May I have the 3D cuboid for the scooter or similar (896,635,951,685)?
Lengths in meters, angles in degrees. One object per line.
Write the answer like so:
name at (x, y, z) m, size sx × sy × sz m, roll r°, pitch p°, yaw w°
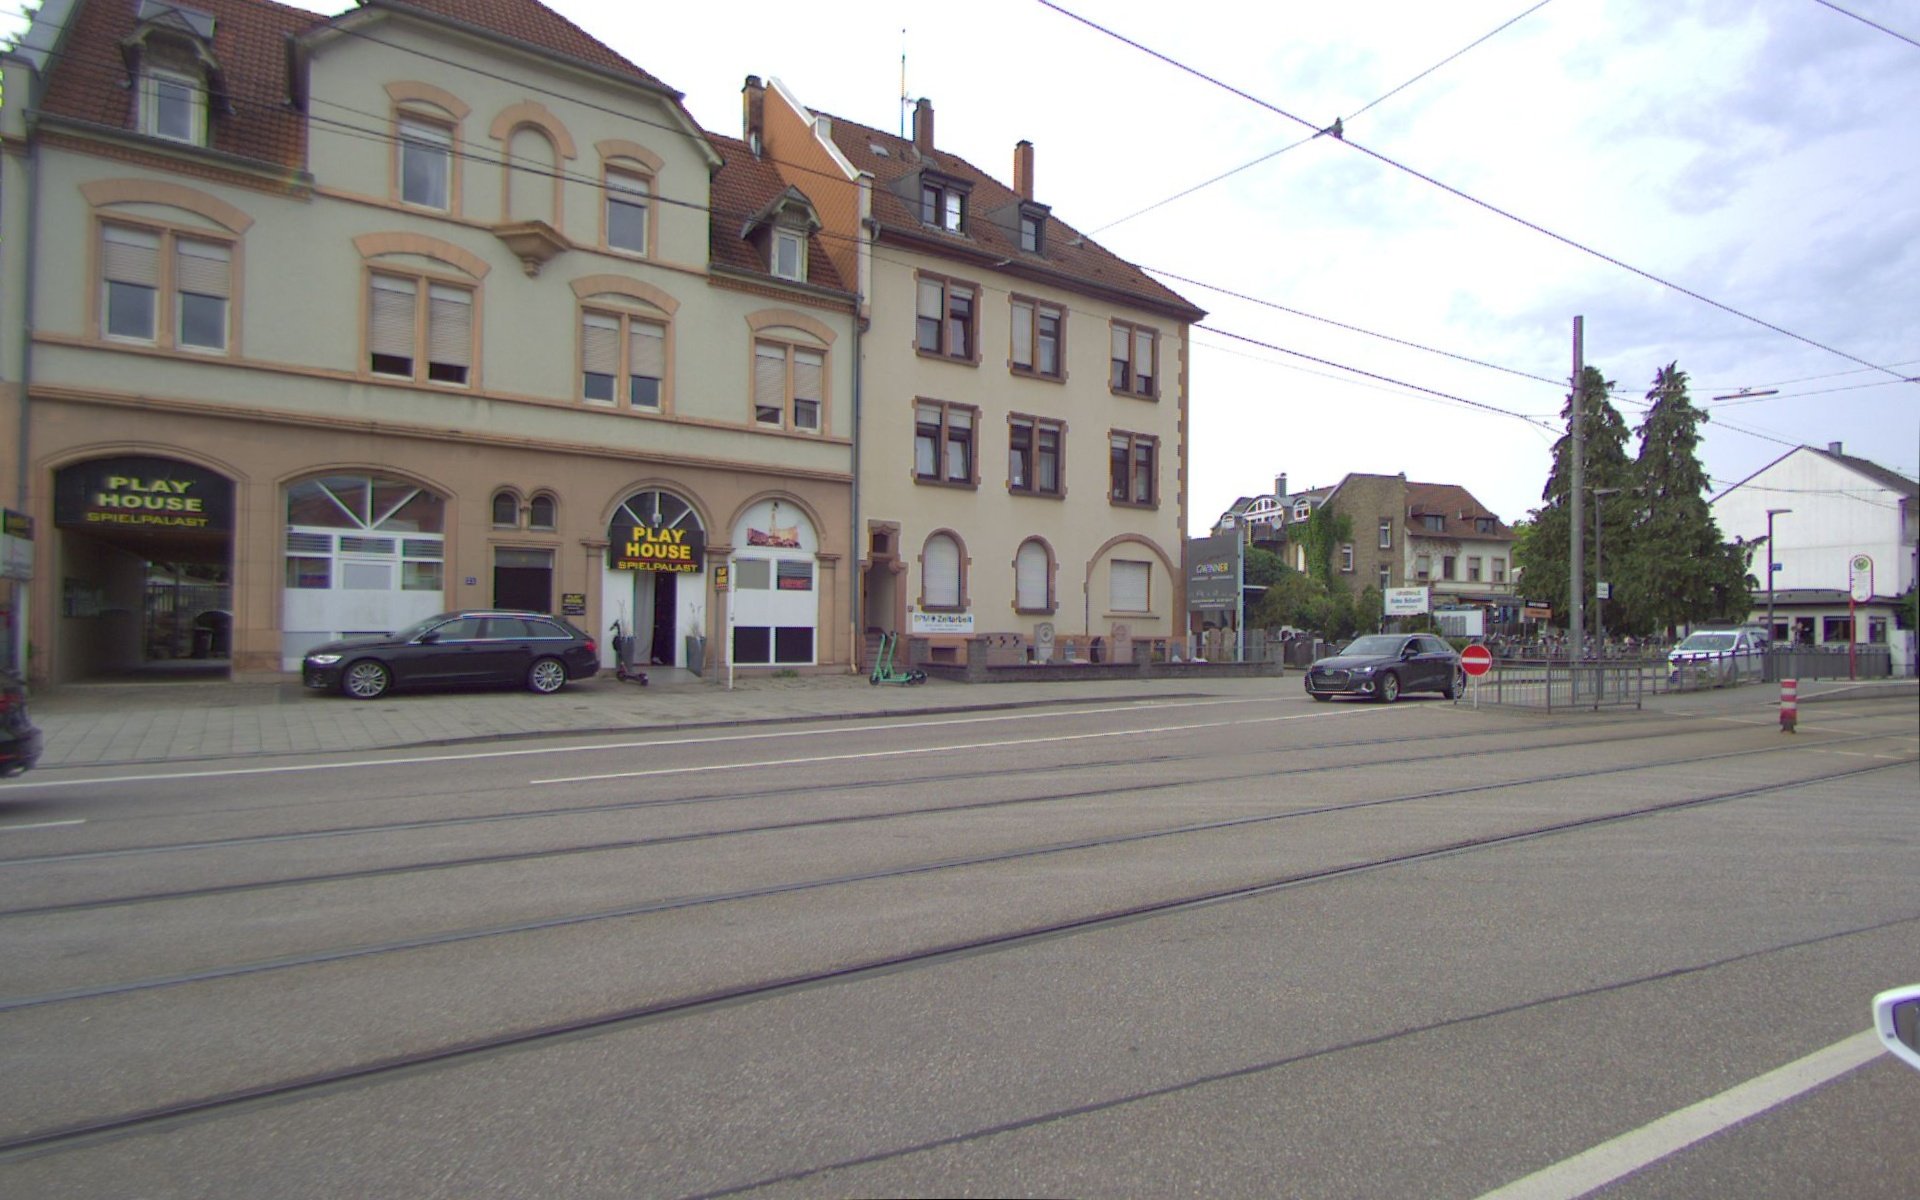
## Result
scooter or similar at (-0.855, 1.388, 23.381) m, size 1.156 × 1.116 × 0.527 m, roll 1°, pitch -1°, yaw 27°

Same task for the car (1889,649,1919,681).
car at (40.537, 2.697, 41.731) m, size 3.787 × 1.316 × 1.743 m, roll 2°, pitch -3°, yaw -29°

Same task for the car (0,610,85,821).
car at (-8.893, 0.786, 6.514) m, size 4.782 × 1.492 × 1.888 m, roll 2°, pitch -4°, yaw -41°

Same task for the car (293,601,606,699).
car at (-9.219, 0.887, 18.320) m, size 4.854 × 1.512 × 1.980 m, roll 2°, pitch 1°, yaw -35°

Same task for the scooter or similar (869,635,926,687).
scooter or similar at (-1.423, 1.360, 22.767) m, size 1.156 × 1.116 × 0.527 m, roll 1°, pitch -1°, yaw 27°

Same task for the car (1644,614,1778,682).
car at (23.734, 1.518, 31.724) m, size 4.474 × 2.015 × 1.875 m, roll 2°, pitch -3°, yaw -32°

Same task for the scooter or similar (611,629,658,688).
scooter or similar at (-6.683, 1.185, 20.626) m, size 0.523 × 1.116 × 1.165 m, roll 2°, pitch 1°, yaw -38°

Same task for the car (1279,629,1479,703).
car at (9.154, 1.400, 21.864) m, size 4.376 × 1.447 × 1.871 m, roll 2°, pitch -3°, yaw -33°
